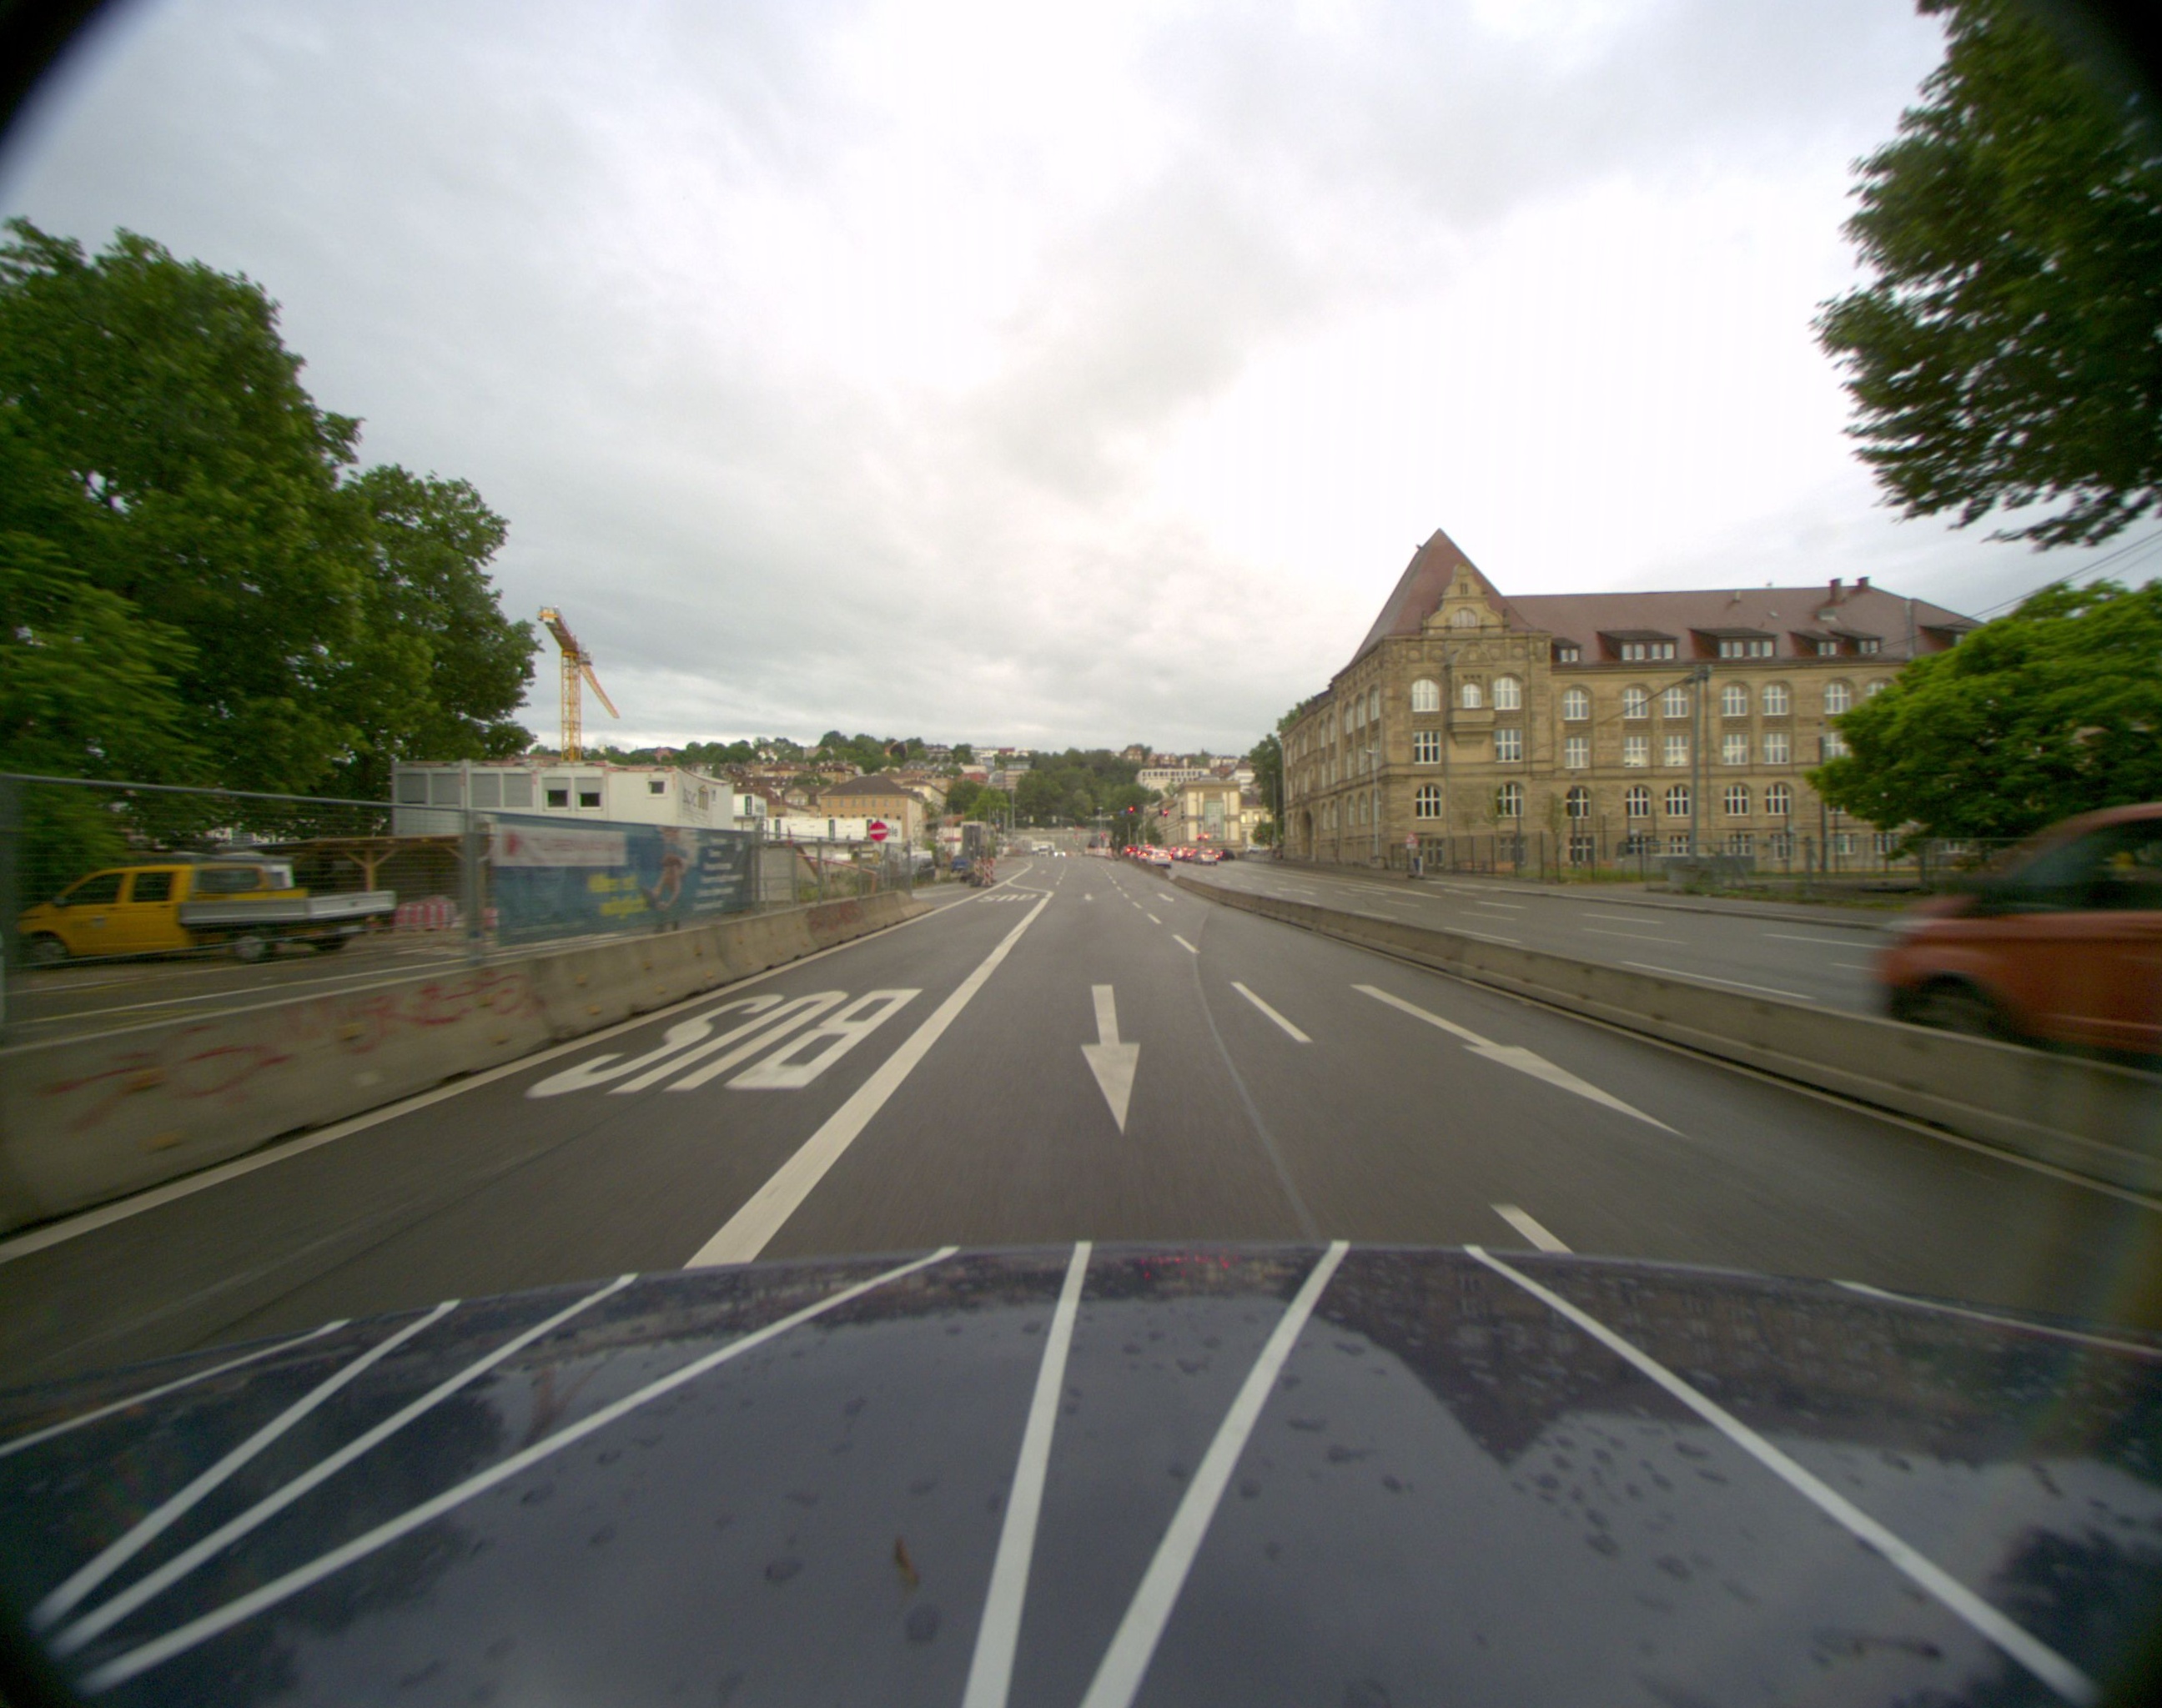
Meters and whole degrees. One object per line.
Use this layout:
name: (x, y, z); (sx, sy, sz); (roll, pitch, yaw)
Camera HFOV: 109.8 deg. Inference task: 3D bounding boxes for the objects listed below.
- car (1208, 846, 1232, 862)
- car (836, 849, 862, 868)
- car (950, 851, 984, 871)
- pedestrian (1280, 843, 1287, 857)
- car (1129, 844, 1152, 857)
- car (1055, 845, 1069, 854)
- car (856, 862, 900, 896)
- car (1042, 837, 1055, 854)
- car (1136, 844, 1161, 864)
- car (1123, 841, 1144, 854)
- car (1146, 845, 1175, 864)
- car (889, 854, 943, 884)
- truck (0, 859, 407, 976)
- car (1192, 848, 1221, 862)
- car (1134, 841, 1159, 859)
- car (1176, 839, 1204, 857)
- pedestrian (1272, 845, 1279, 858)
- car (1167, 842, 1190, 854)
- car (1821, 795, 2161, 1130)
car: (18.162, -0.049, 99.471); (2.000, 2.002, 3.996); (1, 1, -8)
car: (-24.539, 0.477, 80.501); (2.020, 1.890, 4.649); (1, 1, -9)
car: (-9.254, 0.534, 62.139); (1.837, 1.433, 4.413); (-2, 1, 3)
pedestrian: (24.279, -0.484, 91.121); (0.618, 1.575, 0.734); (1, 2, -7)
car: (6.888, -0.426, 88.431); (1.999, 1.493, 4.819); (1, 1, -3)
car: (-3.473, -0.869, 136.645); (2.000, 1.561, 3.996); (1, 1, -8)
car: (-11.345, 1.367, 42.654); (1.857, 1.477, 3.994); (1, 4, -7)
car: (-8.081, -2.172, 191.392); (2.836, 3.991, 8.723); (1, 1, 1)
car: (6.674, -0.058, 75.182); (1.914, 1.856, 4.377); (1, 1, -2)
car: (6.566, -0.843, 95.069); (1.999, 1.558, 5.379); (1, 1, -3)
car: (7.078, 0.058, 68.212); (1.899, 1.558, 4.896); (1, 1, -2)
car: (-10.527, 0.915, 48.920); (1.925, 1.640, 4.415); (4, 2, 7)
truck: (-17.471, 1.169, 15.406); (5.169, 2.002, 2.407); (-1, 2, -7)
car: (13.029, 0.075, 79.000); (1.999, 1.374, 4.208); (1, 1, -6)
car: (6.995, -0.485, 81.540); (1.999, 1.856, 5.593); (1, 1, -2)
car: (12.415, -0.689, 86.813); (2.000, 2.002, 3.996); (1, 1, -8)
pedestrian: (23.317, -0.312, 91.172); (0.618, 1.575, 0.734); (1, 2, 0)
car: (11.943, -0.745, 93.117); (1.999, 1.374, 4.209); (1, 1, -4)
car: (7.222, 0.649, 3.875); (2.035, 1.925, 5.043); (1, 1, 2)
